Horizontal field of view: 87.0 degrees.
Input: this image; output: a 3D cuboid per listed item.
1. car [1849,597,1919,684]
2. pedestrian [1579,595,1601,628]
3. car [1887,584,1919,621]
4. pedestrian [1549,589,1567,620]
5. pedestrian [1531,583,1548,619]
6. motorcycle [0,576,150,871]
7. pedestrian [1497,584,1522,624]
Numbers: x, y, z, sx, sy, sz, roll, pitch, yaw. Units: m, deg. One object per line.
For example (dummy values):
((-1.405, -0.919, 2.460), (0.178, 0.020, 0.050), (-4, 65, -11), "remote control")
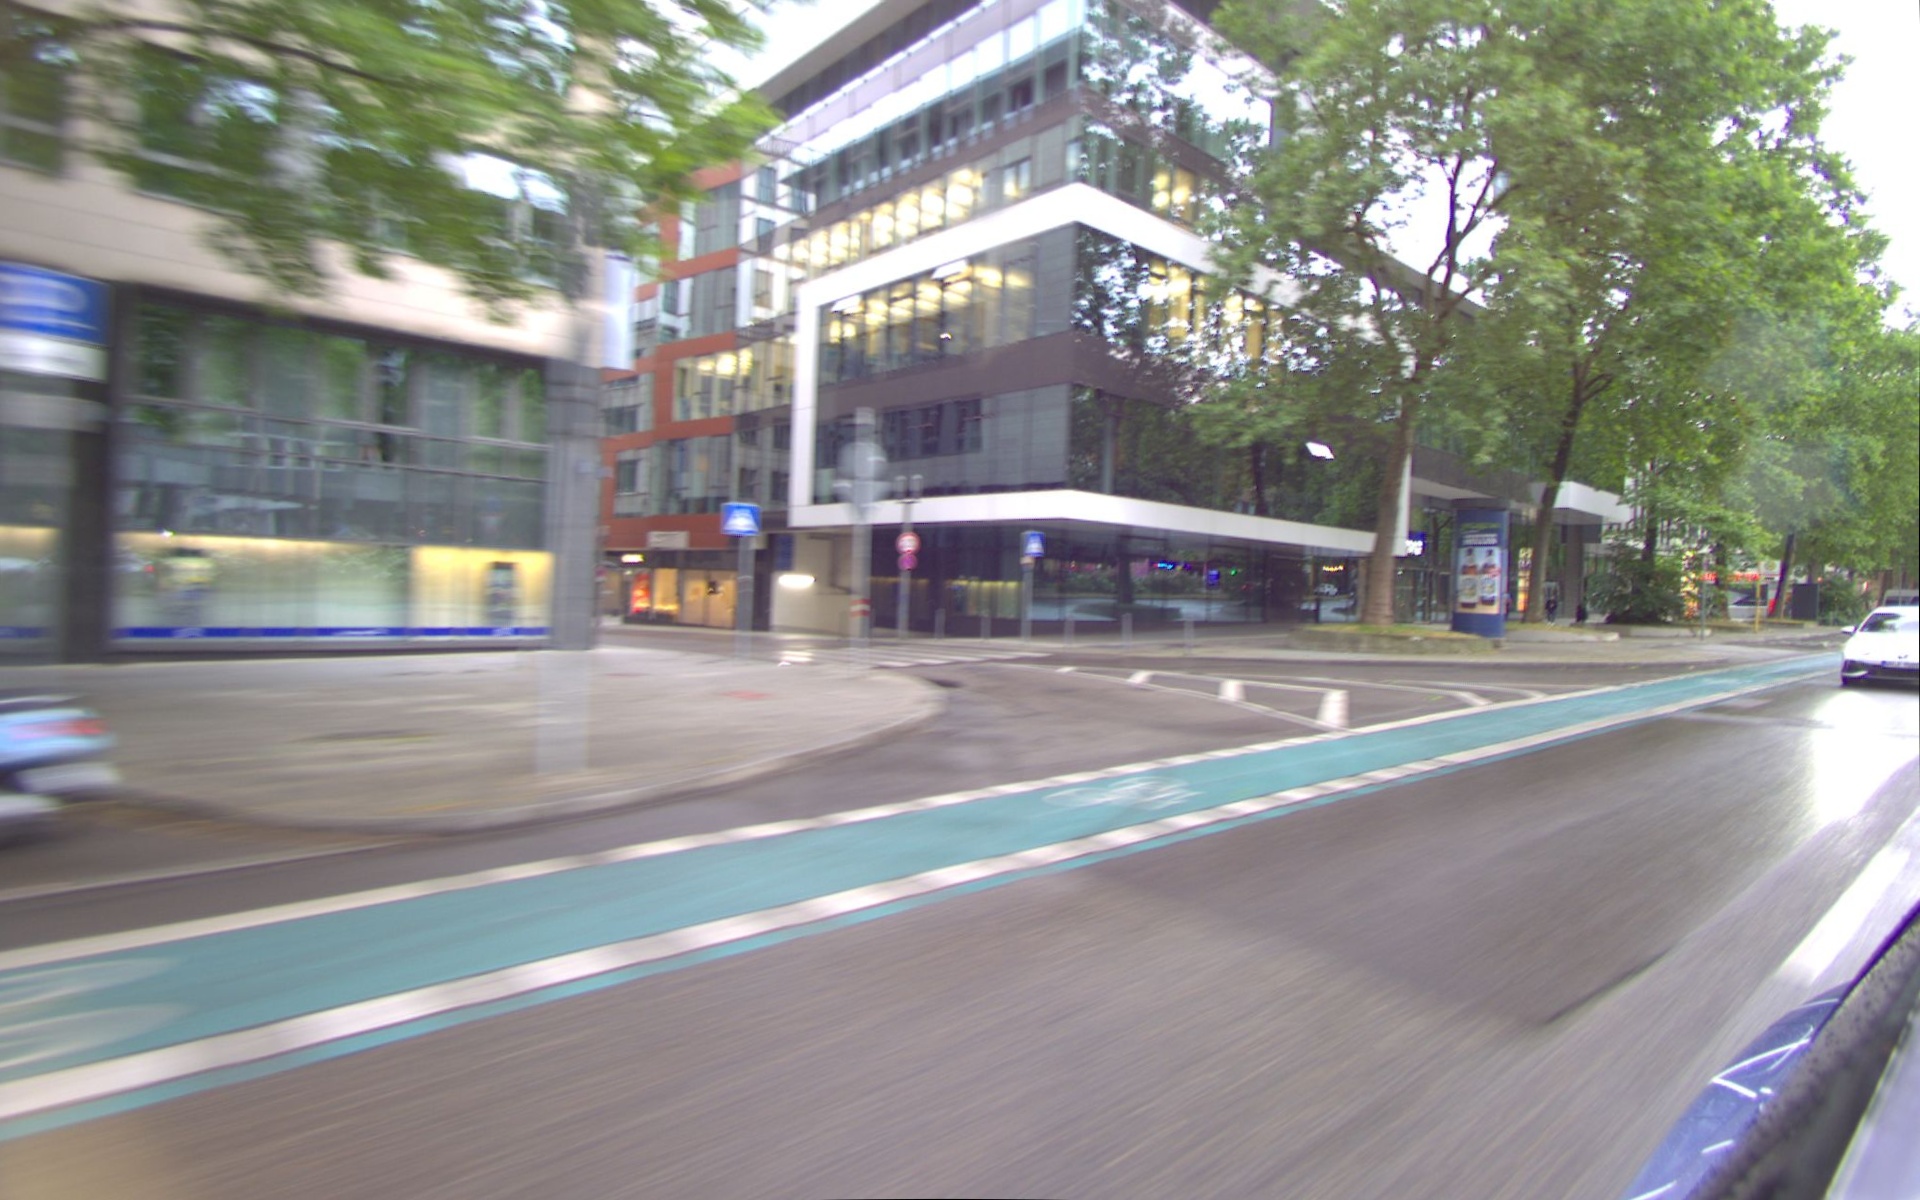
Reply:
((17.887, 0.705, 18.629), (3.726, 1.490, 1.794), (0, 0, -40), "car")
((29.741, 0.546, 47.778), (0.987, 1.524, 0.588), (1, 1, -40), "pedestrian")
((71.562, 0.179, 73.544), (2.275, 2.713, 6.292), (0, 1, -5), "car")
((32.153, 0.230, 54.417), (0.707, 1.645, 0.527), (-1, 4, -41), "pedestrian")
((31.548, 0.050, 55.051), (0.692, 1.881, 0.523), (-1, 4, -41), "pedestrian")
((-5.459, 0.577, 5.293), (1.908, 1.383, 0.685), (3, 3, 0), "motorcycle")
((26.058, 0.174, 47.988), (0.786, 1.815, 1.072), (5, 2, 37), "pedestrian")
